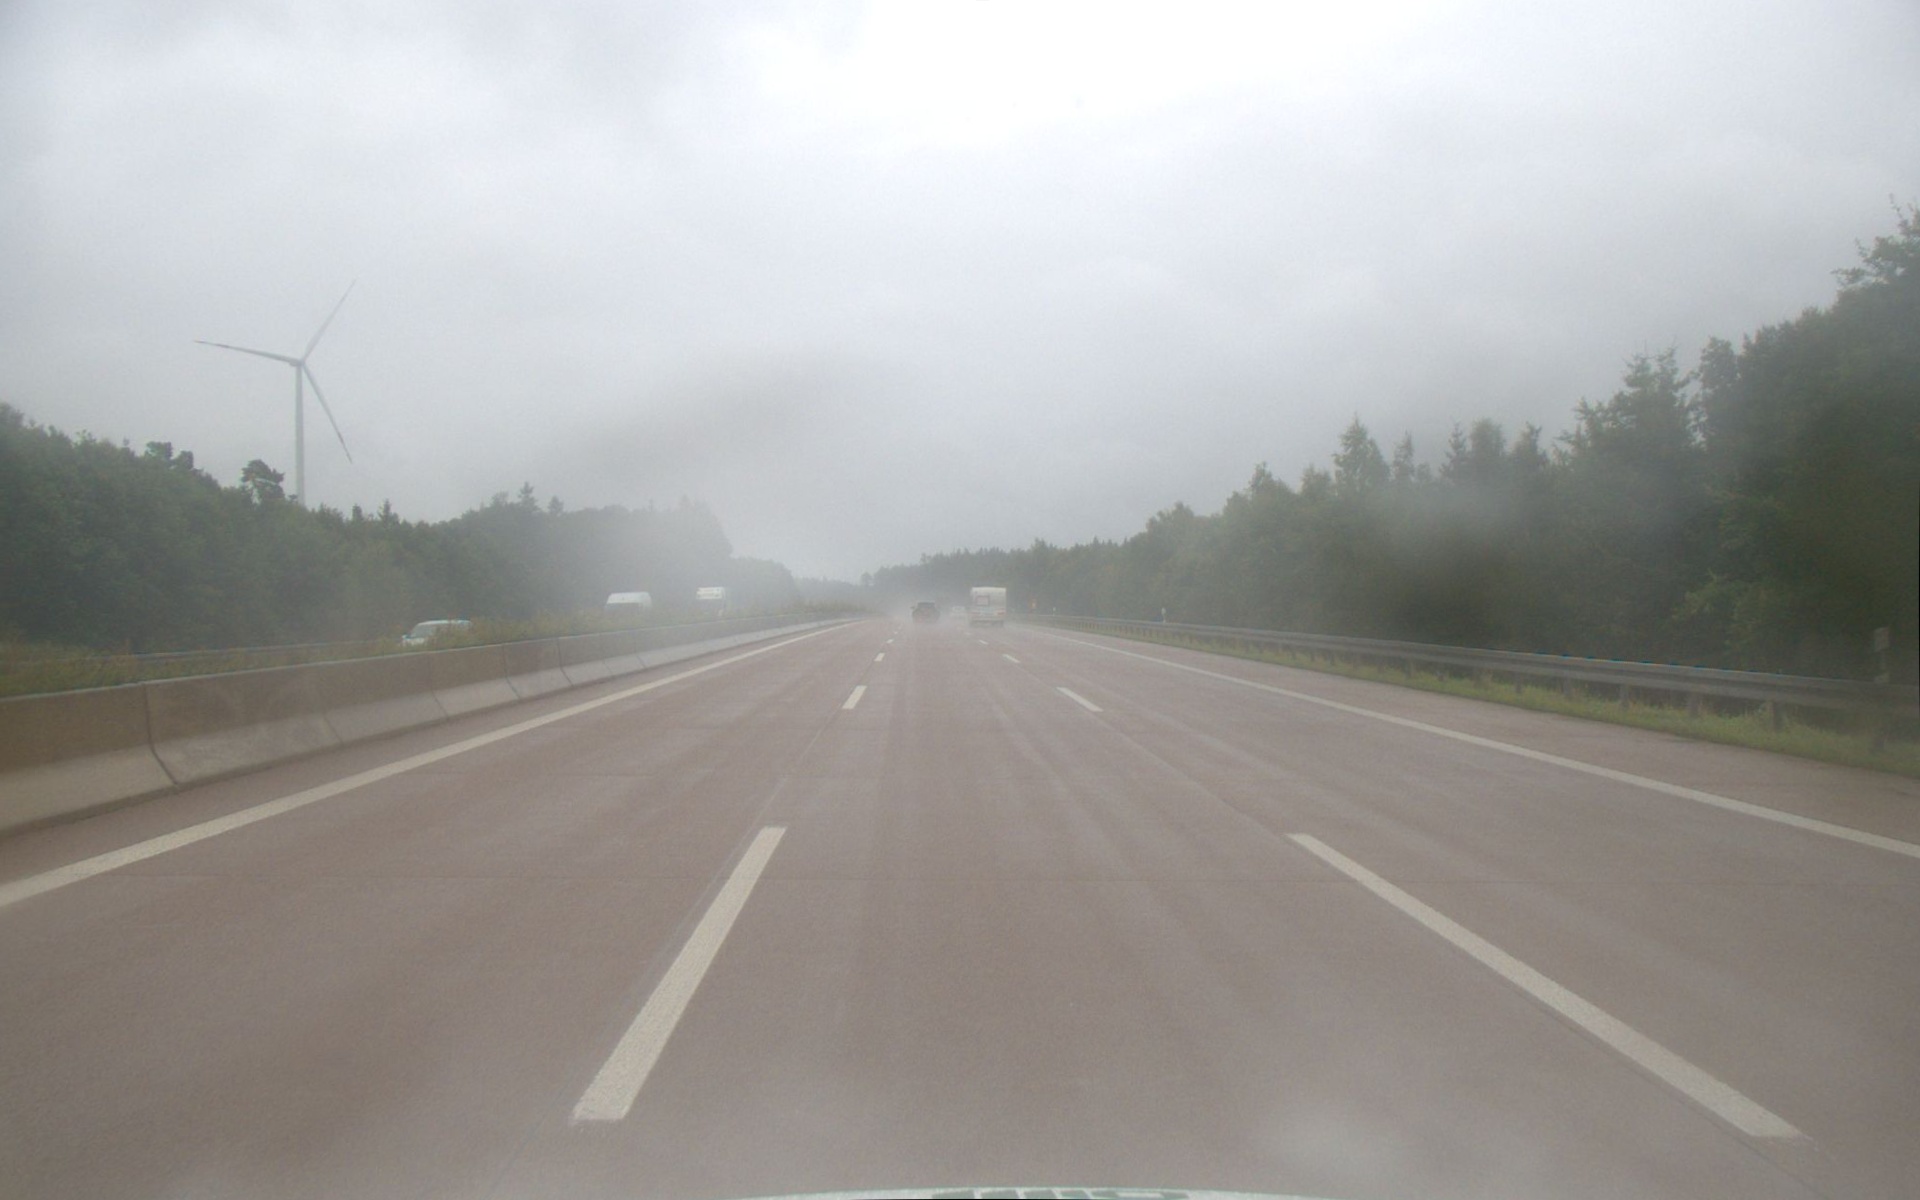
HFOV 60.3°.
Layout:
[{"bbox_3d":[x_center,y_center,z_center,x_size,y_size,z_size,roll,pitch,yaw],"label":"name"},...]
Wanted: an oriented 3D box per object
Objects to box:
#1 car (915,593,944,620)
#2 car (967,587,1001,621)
[{"bbox_3d":[-2.070,0.420,113.559,1.898,1.760,4.129,1,0,-1],"label":"car"},{"bbox_3d":[1.537,0.245,107.792,2.016,2.034,4.098,3,0,-1],"label":"car"}]
